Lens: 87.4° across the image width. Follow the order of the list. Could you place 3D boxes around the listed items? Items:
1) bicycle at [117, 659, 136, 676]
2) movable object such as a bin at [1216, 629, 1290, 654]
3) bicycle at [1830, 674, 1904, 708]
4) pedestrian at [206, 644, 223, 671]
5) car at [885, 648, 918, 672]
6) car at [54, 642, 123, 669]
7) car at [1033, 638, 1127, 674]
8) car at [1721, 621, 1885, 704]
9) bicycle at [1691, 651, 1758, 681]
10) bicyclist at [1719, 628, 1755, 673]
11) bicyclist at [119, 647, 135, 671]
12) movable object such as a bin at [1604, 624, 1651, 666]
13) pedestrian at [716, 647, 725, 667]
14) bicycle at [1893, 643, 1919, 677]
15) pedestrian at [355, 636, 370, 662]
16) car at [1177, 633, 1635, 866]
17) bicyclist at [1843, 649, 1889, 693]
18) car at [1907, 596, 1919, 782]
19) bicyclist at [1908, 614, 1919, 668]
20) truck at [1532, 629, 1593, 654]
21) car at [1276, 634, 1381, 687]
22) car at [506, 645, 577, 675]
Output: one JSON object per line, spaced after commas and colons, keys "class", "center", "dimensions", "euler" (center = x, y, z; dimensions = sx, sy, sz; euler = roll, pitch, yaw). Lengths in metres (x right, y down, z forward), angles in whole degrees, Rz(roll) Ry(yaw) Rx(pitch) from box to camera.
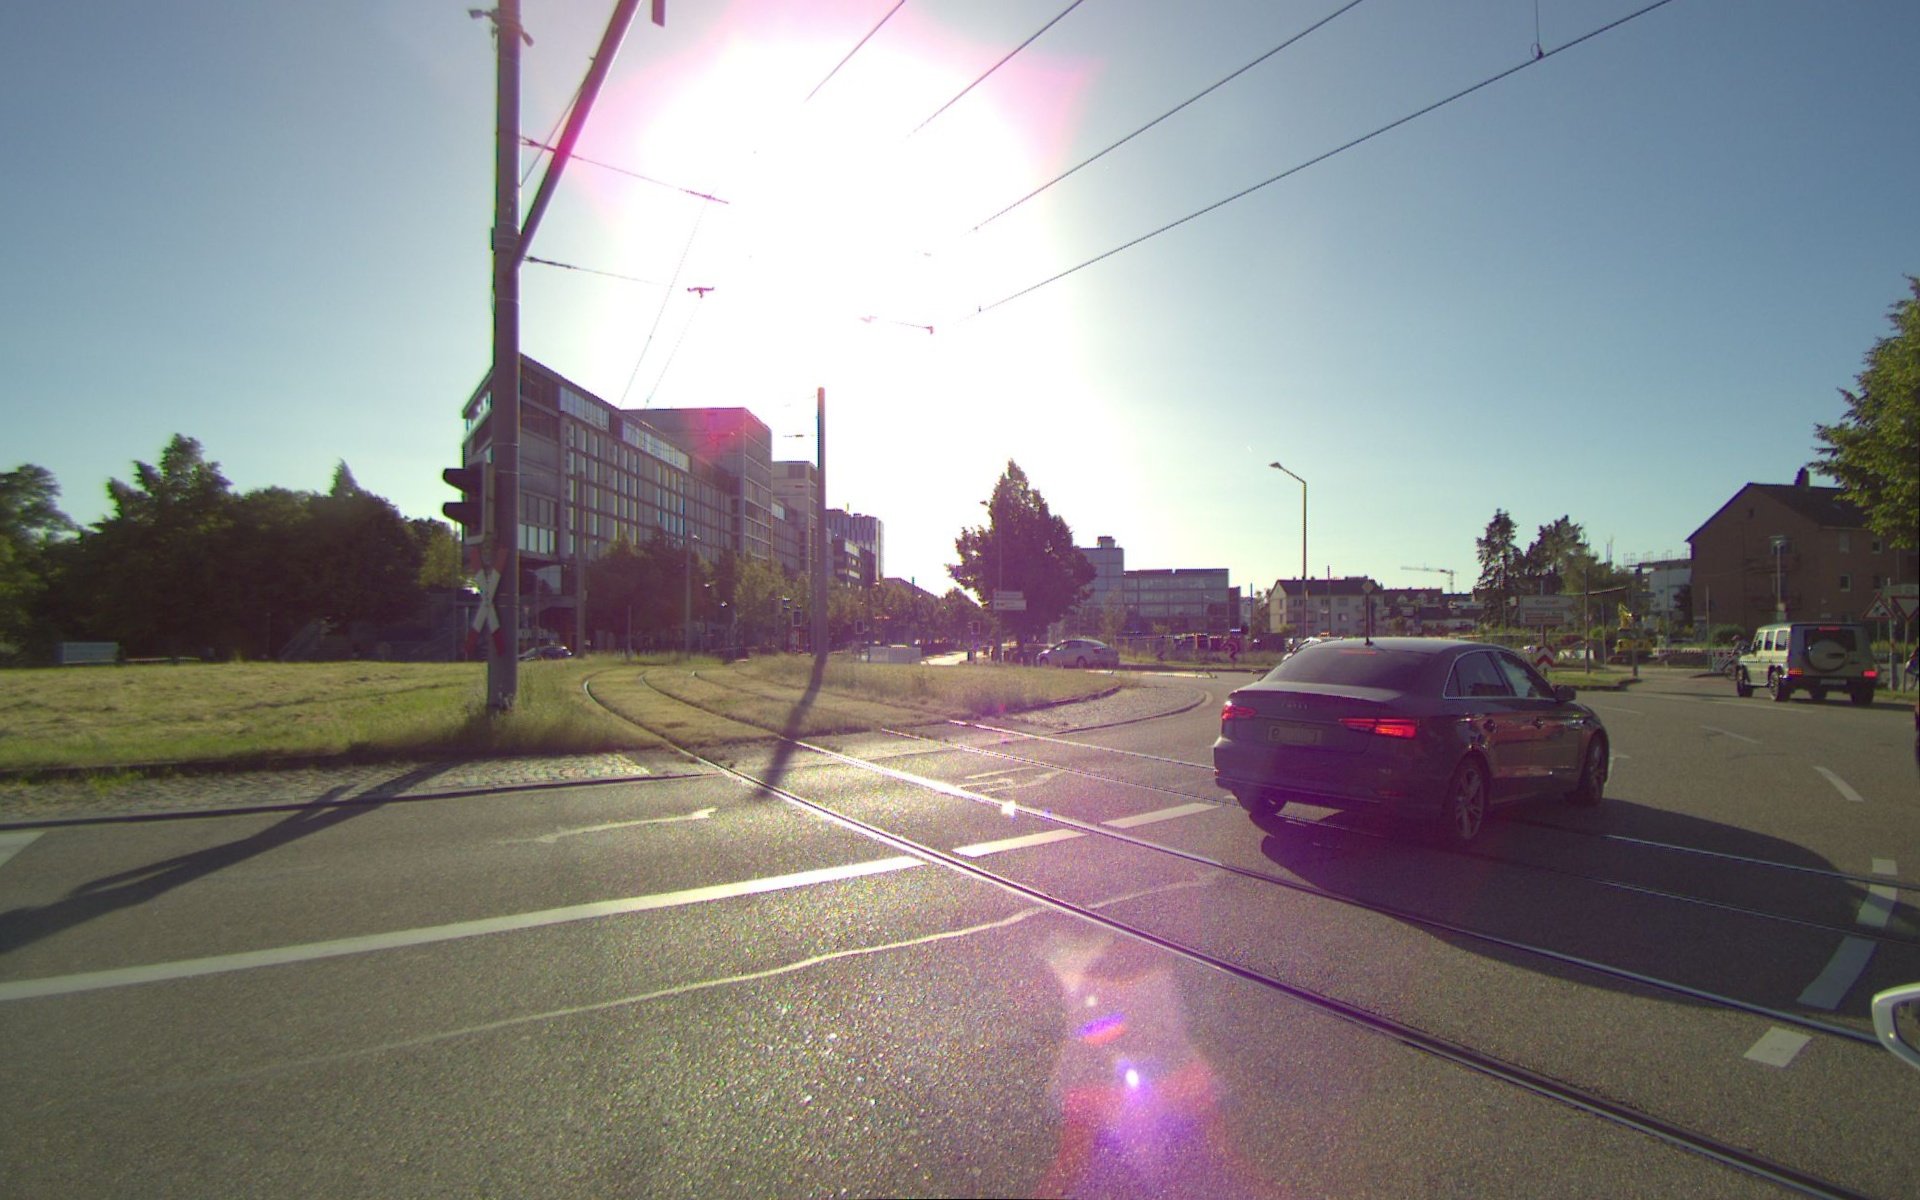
{"class": "bicycle", "center": [-52.276, 4.224, 63.009], "dimensions": [0.580, 1.025, 1.856], "euler": [2, -3, -29]}
{"class": "movable object such as a bin", "center": [33.498, 4.689, 115.085], "dimensions": [7.772, 2.819, 2.946], "euler": [0, -2, 6]}
{"class": "bicycle", "center": [30.071, 2.997, 33.337], "dimensions": [0.648, 1.041, 1.822], "euler": [2, -3, -8]}
{"class": "pedestrian", "center": [-47.610, 3.664, 64.161], "dimensions": [0.756, 1.651, 0.874], "euler": [1, -2, -44]}
{"class": "car", "center": [-4.335, 4.442, 74.982], "dimensions": [1.960, 1.596, 4.410], "euler": [-1, -2, 3]}
{"class": "car", "center": [-62.574, 3.948, 72.164], "dimensions": [3.715, 1.829, 1.817], "euler": [1, -2, -42]}
{"class": "car", "center": [5.624, 2.616, 47.659], "dimensions": [1.982, 1.596, 4.362], "euler": [1, -2, -37]}
{"class": "car", "center": [21.715, 1.564, 26.138], "dimensions": [1.965, 1.922, 4.751], "euler": [0, -2, 23]}
{"class": "bicycle", "center": [30.087, 2.577, 39.557], "dimensions": [0.733, 1.041, 1.997], "euler": [-2, 0, -27]}
{"class": "bicyclist", "center": [30.263, 1.957, 39.139], "dimensions": [0.733, 1.703, 0.848], "euler": [-2, 0, -27]}
{"class": "bicyclist", "center": [-52.264, 3.708, 63.033], "dimensions": [0.580, 1.487, 0.751], "euler": [2, -3, -29]}
{"class": "movable object such as a bin", "center": [46.884, 3.150, 70.602], "dimensions": [2.383, 2.810, 3.994], "euler": [1, -2, 29]}
{"class": "pedestrian", "center": [-17.997, 4.268, 75.492], "dimensions": [0.545, 1.485, 0.677], "euler": [0, -2, 1]}
{"class": "bicycle", "center": [30.388, 1.884, 31.364], "dimensions": [0.648, 1.041, 1.821], "euler": [2, -2, -9]}
{"class": "pedestrian", "center": [-47.176, 3.887, 79.354], "dimensions": [0.820, 2.040, 0.638], "euler": [1, -2, -15]}
{"class": "car", "center": [3.809, 0.979, 8.211], "dimensions": [4.323, 1.398, 1.745], "euler": [1, -2, -40]}
{"class": "bicyclist", "center": [30.083, 2.337, 33.367], "dimensions": [0.648, 1.403, 0.934], "euler": [2, -2, -9]}
{"class": "car", "center": [9.540, 0.854, 8.535], "dimensions": [1.780, 1.837, 3.794], "euler": [0, -1, 38]}
{"class": "bicyclist", "center": [30.408, 1.286, 31.423], "dimensions": [0.648, 1.687, 0.898], "euler": [2, -2, -10]}
{"class": "truck", "center": [53.460, 3.679, 89.315], "dimensions": [2.127, 2.040, 6.440], "euler": [2, -2, 7]}
{"class": "car", "center": [11.456, 1.842, 31.501], "dimensions": [1.773, 1.481, 3.808], "euler": [1, -1, -2]}
{"class": "car", "center": [-26.784, 3.831, 64.442], "dimensions": [1.745, 1.808, 3.907], "euler": [-1, -2, 34]}
